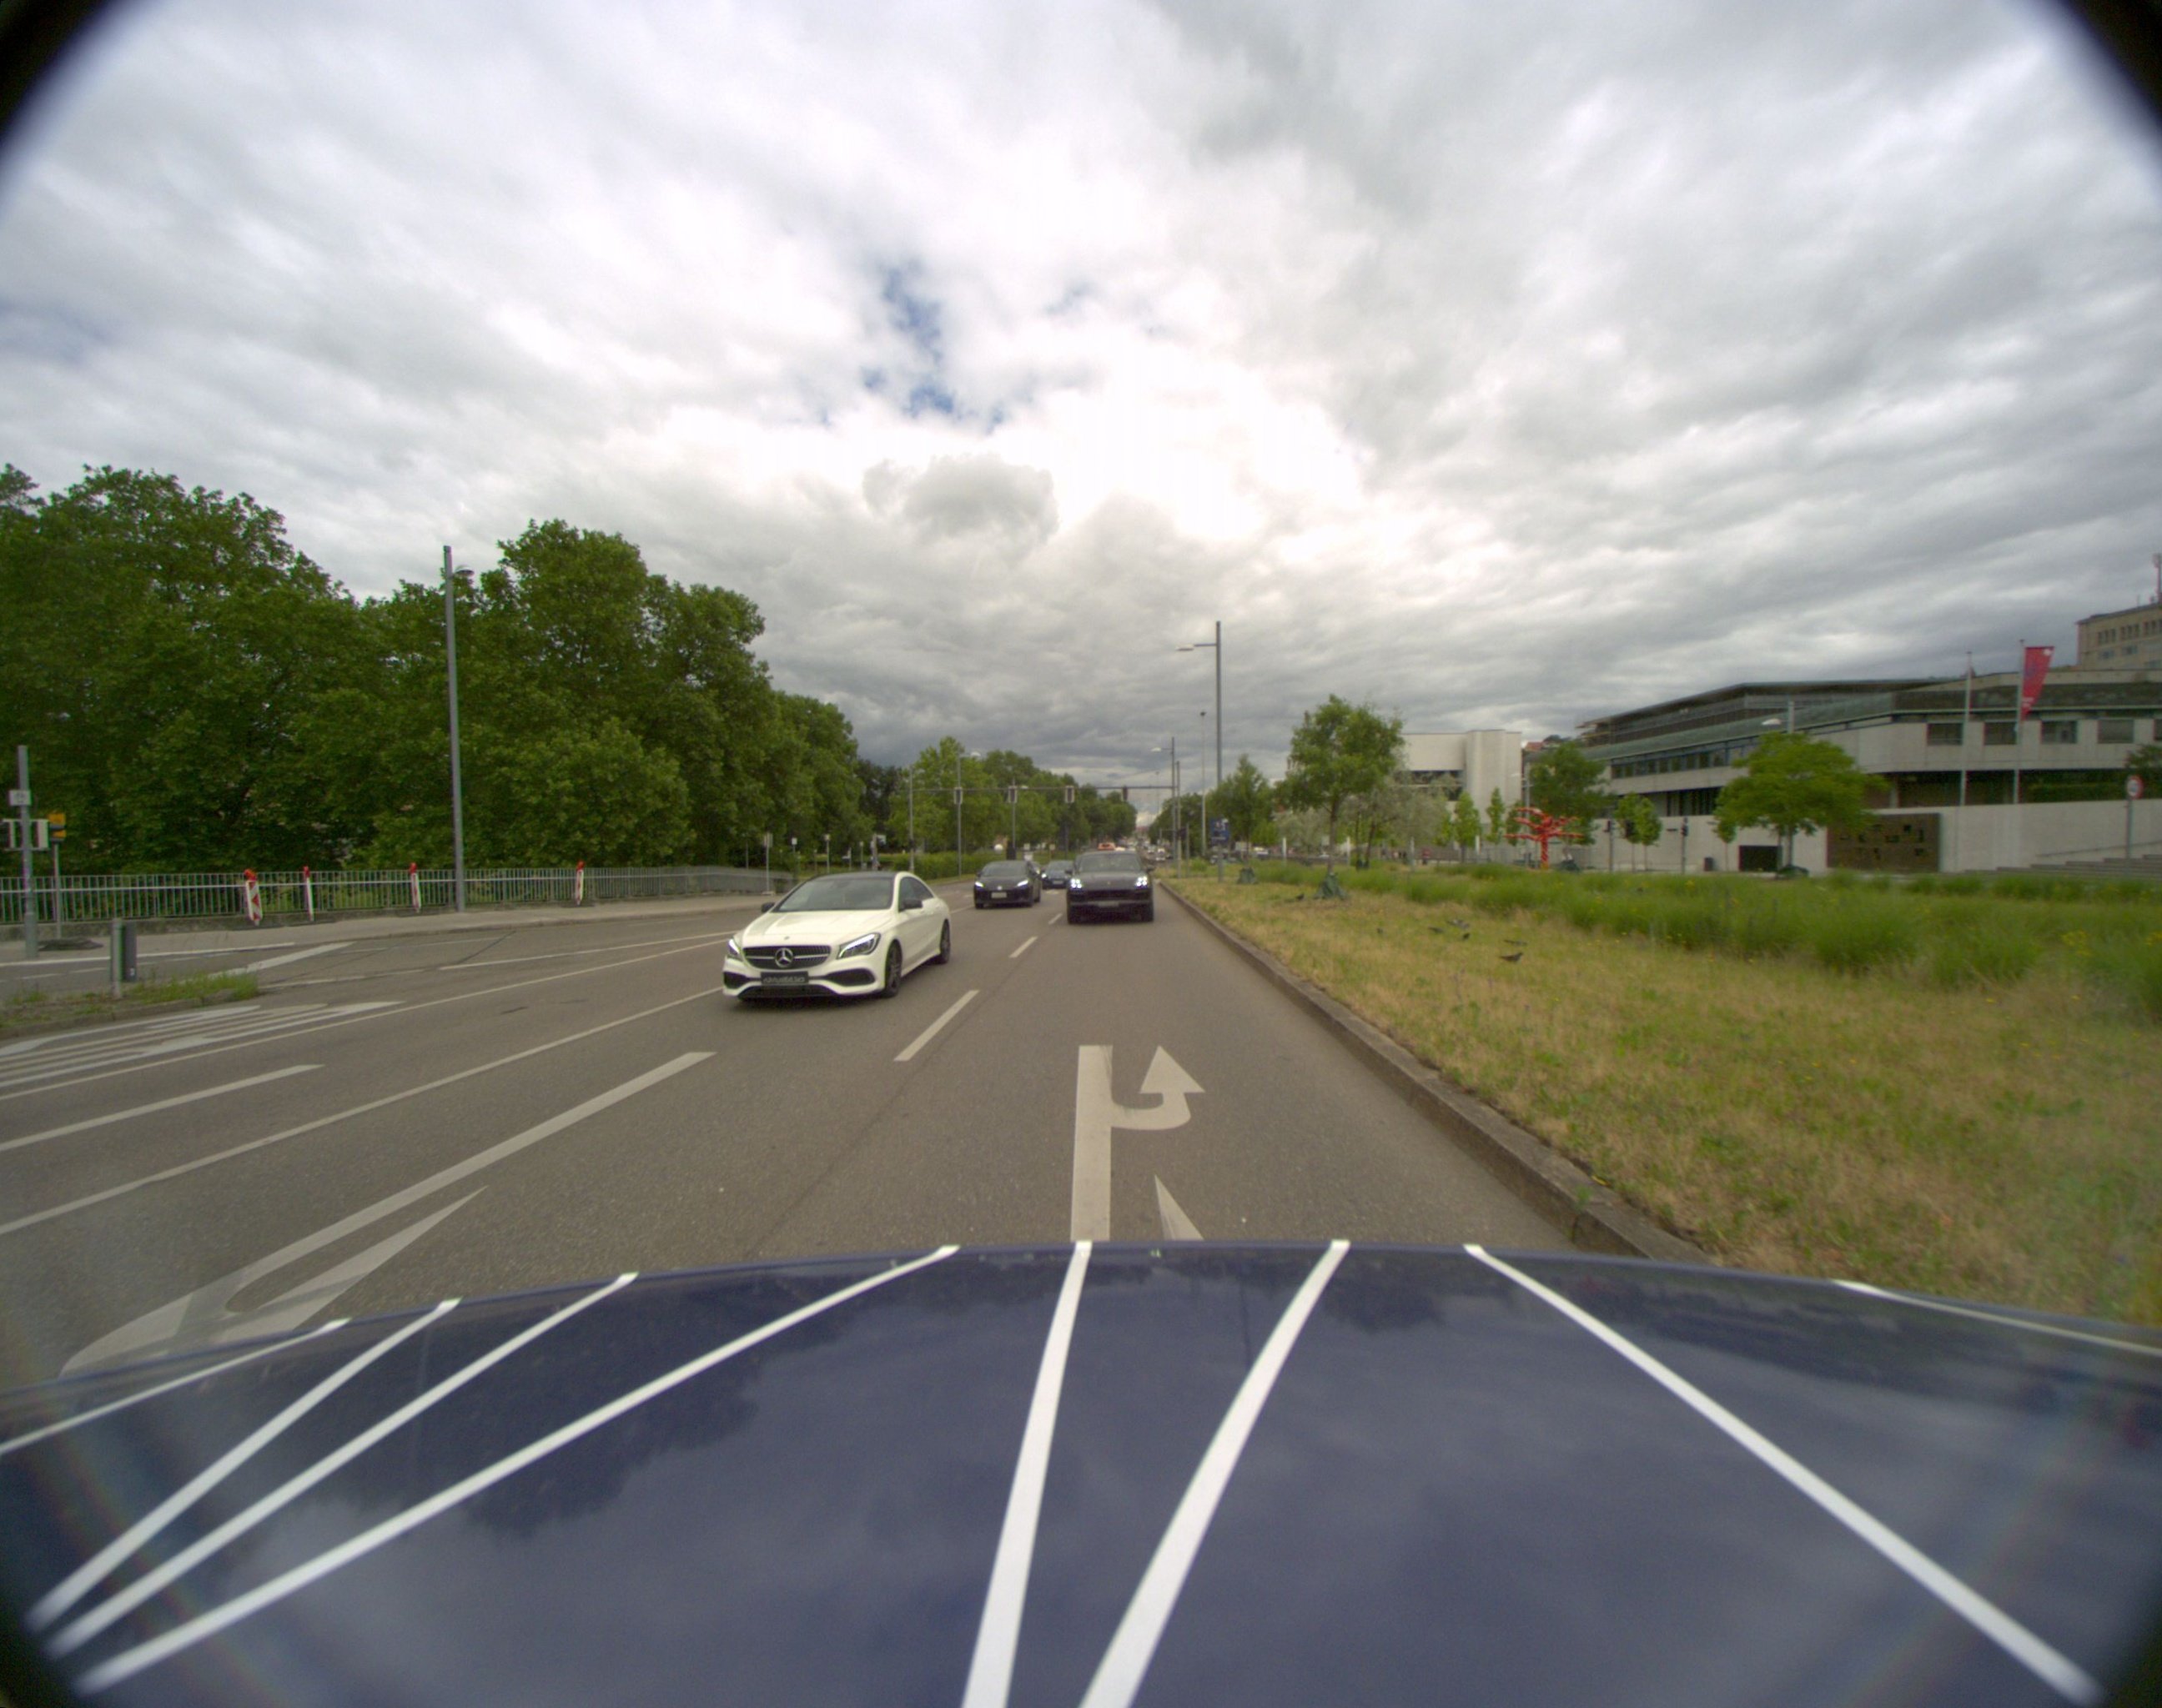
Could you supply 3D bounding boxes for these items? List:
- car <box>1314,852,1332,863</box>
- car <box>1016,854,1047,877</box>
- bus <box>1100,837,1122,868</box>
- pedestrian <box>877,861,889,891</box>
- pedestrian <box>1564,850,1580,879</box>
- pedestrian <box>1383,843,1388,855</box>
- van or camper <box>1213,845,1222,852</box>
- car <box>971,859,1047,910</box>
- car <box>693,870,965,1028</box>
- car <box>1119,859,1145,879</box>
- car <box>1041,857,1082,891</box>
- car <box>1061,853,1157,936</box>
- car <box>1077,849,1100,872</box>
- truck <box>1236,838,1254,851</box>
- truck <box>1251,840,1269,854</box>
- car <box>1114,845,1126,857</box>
[{"bbox_3d":[37.601,0.574,118.132,1.722,1.565,4.614,-1,0,5],"label":"car"},{"bbox_3d":[-3.618,0.842,56.329,1.722,1.528,4.002,-2,1,4],"label":"car"},{"bbox_3d":[4.507,-0.254,114.186,3.043,4.327,8.751,-1,1,3],"label":"bus"},{"bbox_3d":[-11.808,1.326,45.397,0.479,1.753,0.620,-2,1,1],"label":"pedestrian"},{"bbox_3d":[29.615,0.630,45.858,0.541,1.723,0.663,-2,0,4],"label":"pedestrian"},{"bbox_3d":[41.125,-0.683,102.665,0.428,1.513,0.461,-2,1,-3],"label":"pedestrian"},{"bbox_3d":[36.896,-1.460,205.653,1.998,2.001,4.558,-1,0,4],"label":"van or camper"},{"bbox_3d":[-2.293,0.948,25.259,1.829,1.515,4.121,-2,0,4],"label":"car"},{"bbox_3d":[-2.884,1.010,9.878,1.722,1.415,4.507,-2,0,4],"label":"car"},{"bbox_3d":[4.365,1.260,65.108,1.762,1.538,3.999,-2,1,-2],"label":"car"},{"bbox_3d":[-0.958,1.094,39.369,1.572,1.527,4.005,-6,-3,5],"label":"car"},{"bbox_3d":[0.729,0.843,18.086,1.937,1.668,4.680,-1,0,4],"label":"car"},{"bbox_3d":[0.682,0.496,65.042,1.722,1.851,4.431,-2,1,4],"label":"car"},{"bbox_3d":[40.032,-2.304,185.786,3.238,2.771,7.256,-1,0,4],"label":"truck"},{"bbox_3d":[36.011,-1.374,153.271,2.469,2.799,7.081,-1,0,5],"label":"truck"},{"bbox_3d":[7.415,-0.621,142.422,1.998,2.216,4.001,-2,0,6],"label":"car"}]
